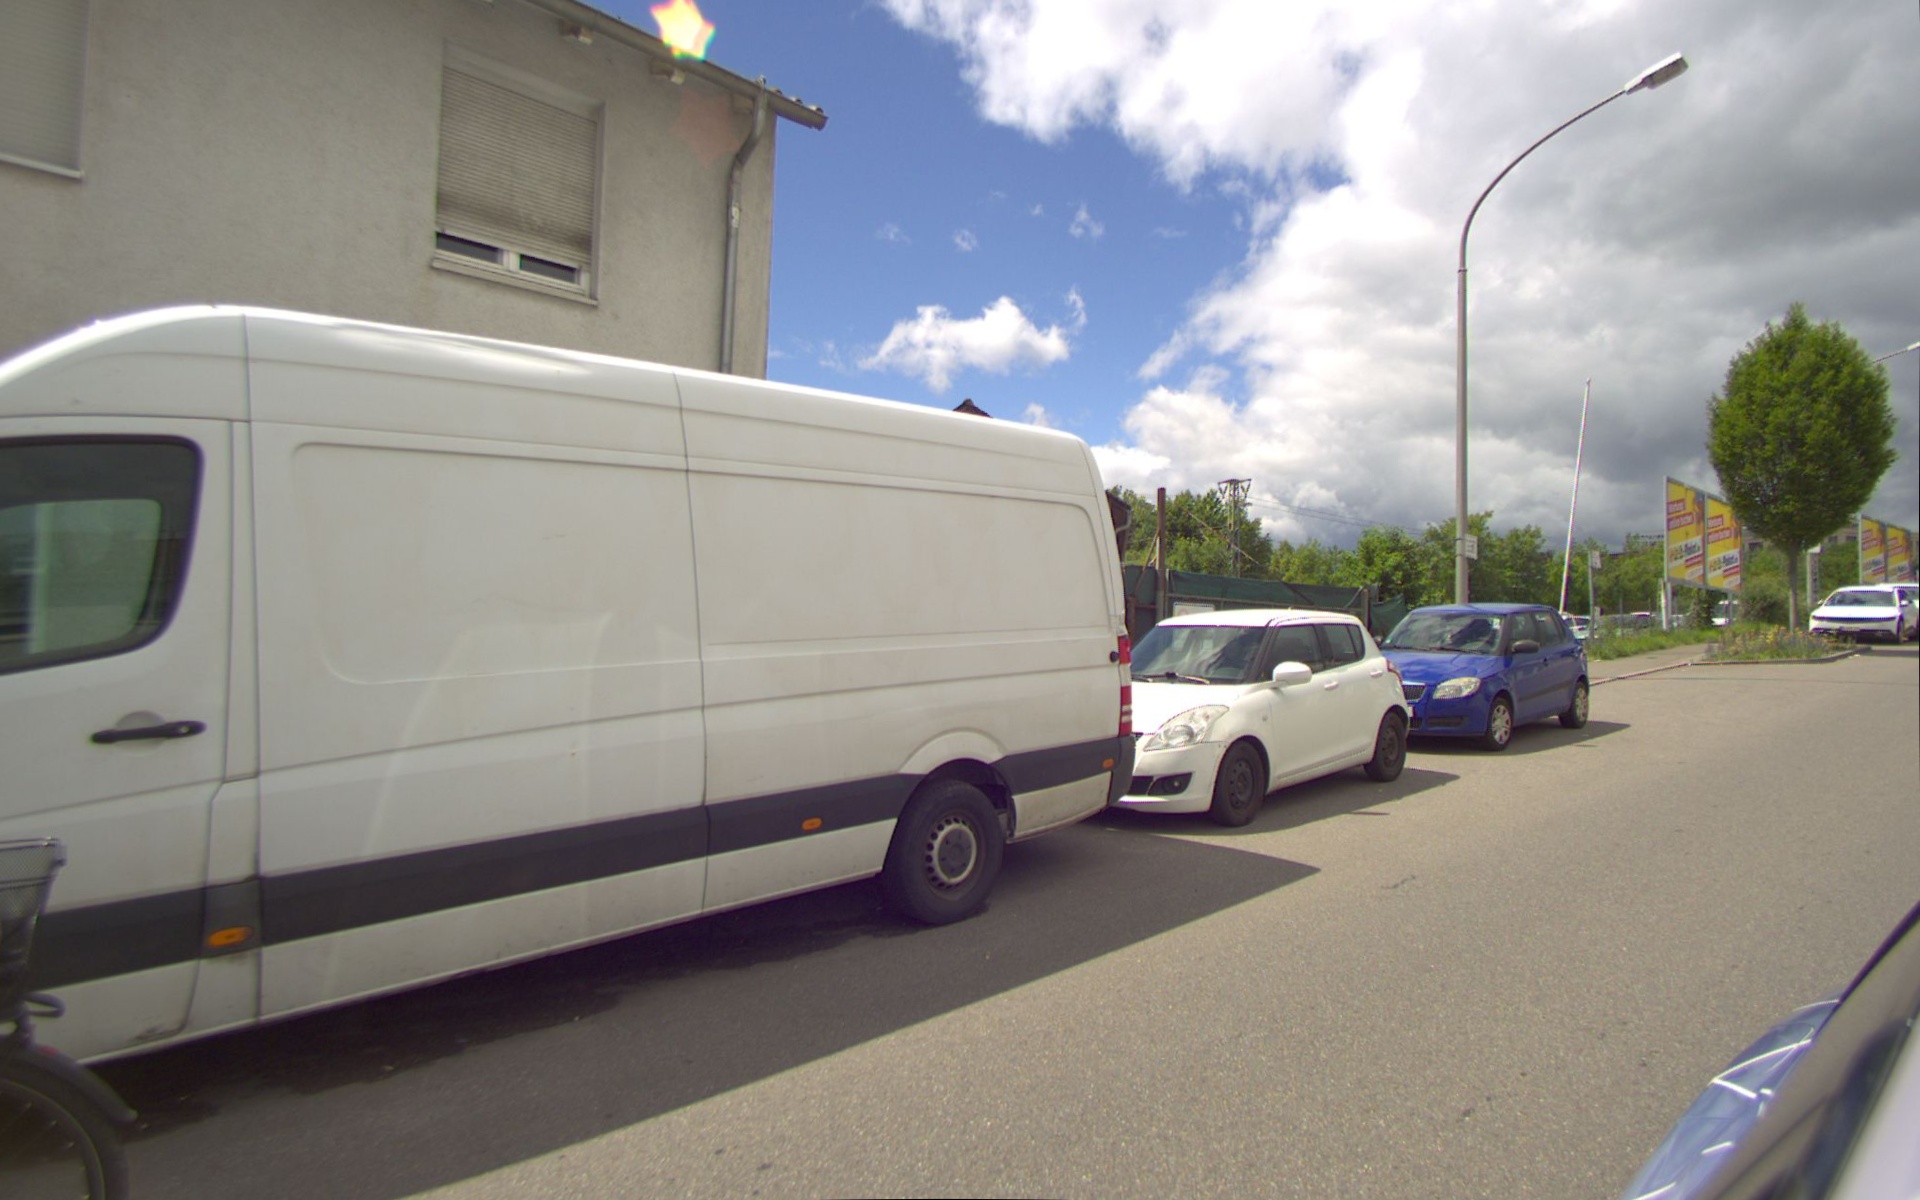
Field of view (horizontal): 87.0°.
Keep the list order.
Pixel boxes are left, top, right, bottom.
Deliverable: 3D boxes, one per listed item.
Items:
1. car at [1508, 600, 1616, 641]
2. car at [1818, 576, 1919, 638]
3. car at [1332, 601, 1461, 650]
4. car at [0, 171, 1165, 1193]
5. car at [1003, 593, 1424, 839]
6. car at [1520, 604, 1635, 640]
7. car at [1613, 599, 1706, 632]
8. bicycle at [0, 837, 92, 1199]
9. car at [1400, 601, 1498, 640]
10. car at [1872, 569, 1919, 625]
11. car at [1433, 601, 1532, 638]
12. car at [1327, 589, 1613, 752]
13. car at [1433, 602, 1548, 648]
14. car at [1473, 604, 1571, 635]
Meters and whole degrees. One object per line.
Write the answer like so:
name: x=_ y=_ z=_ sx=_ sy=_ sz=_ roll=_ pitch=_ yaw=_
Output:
car: x=25.510 y=0.831 z=42.842 sx=4.488 sy=1.536 sz=1.760 roll=-1 pitch=2 yaw=-26
car: x=25.779 y=0.130 z=28.344 sx=4.386 sy=1.584 sz=1.846 roll=-1 pitch=2 yaw=-39
car: x=16.628 y=0.931 z=38.556 sx=4.581 sy=1.705 sz=1.759 roll=0 pitch=2 yaw=-21
car: x=-2.093 y=0.184 z=4.428 sx=7.160 sy=2.674 sz=2.035 roll=-1 pitch=1 yaw=-43
car: x=2.234 y=0.739 z=8.375 sx=3.726 sy=1.529 sz=1.594 roll=-1 pitch=1 yaw=-43
car: x=29.649 y=1.024 z=48.748 sx=1.958 sy=1.574 sz=4.470 roll=-1 pitch=1 yaw=-22
car: x=35.833 y=0.750 z=51.983 sx=1.752 sy=1.559 sz=4.004 roll=-1 pitch=1 yaw=-5
bicycle: x=-2.363 y=1.022 z=1.420 sx=1.703 sy=0.988 sz=0.741 roll=1 pitch=-1 yaw=-43
car: x=22.374 y=0.914 z=46.473 sx=1.758 sy=1.632 sz=4.008 roll=-1 pitch=1 yaw=-19
car: x=30.369 y=-0.141 z=32.014 sx=4.401 sy=1.680 sz=1.689 roll=-1 pitch=1 yaw=-40
car: x=24.644 y=0.890 z=47.902 sx=1.784 sy=1.578 sz=4.008 roll=-1 pitch=1 yaw=-19
car: x=5.995 y=0.665 z=11.692 sx=4.024 sy=1.529 sz=1.569 roll=-1 pitch=1 yaw=-42
car: x=21.377 y=0.971 z=40.791 sx=4.371 sy=1.641 sz=1.821 roll=-1 pitch=2 yaw=-25
car: x=26.934 y=0.917 z=48.663 sx=1.719 sy=1.347 sz=4.008 roll=-1 pitch=1 yaw=-19
